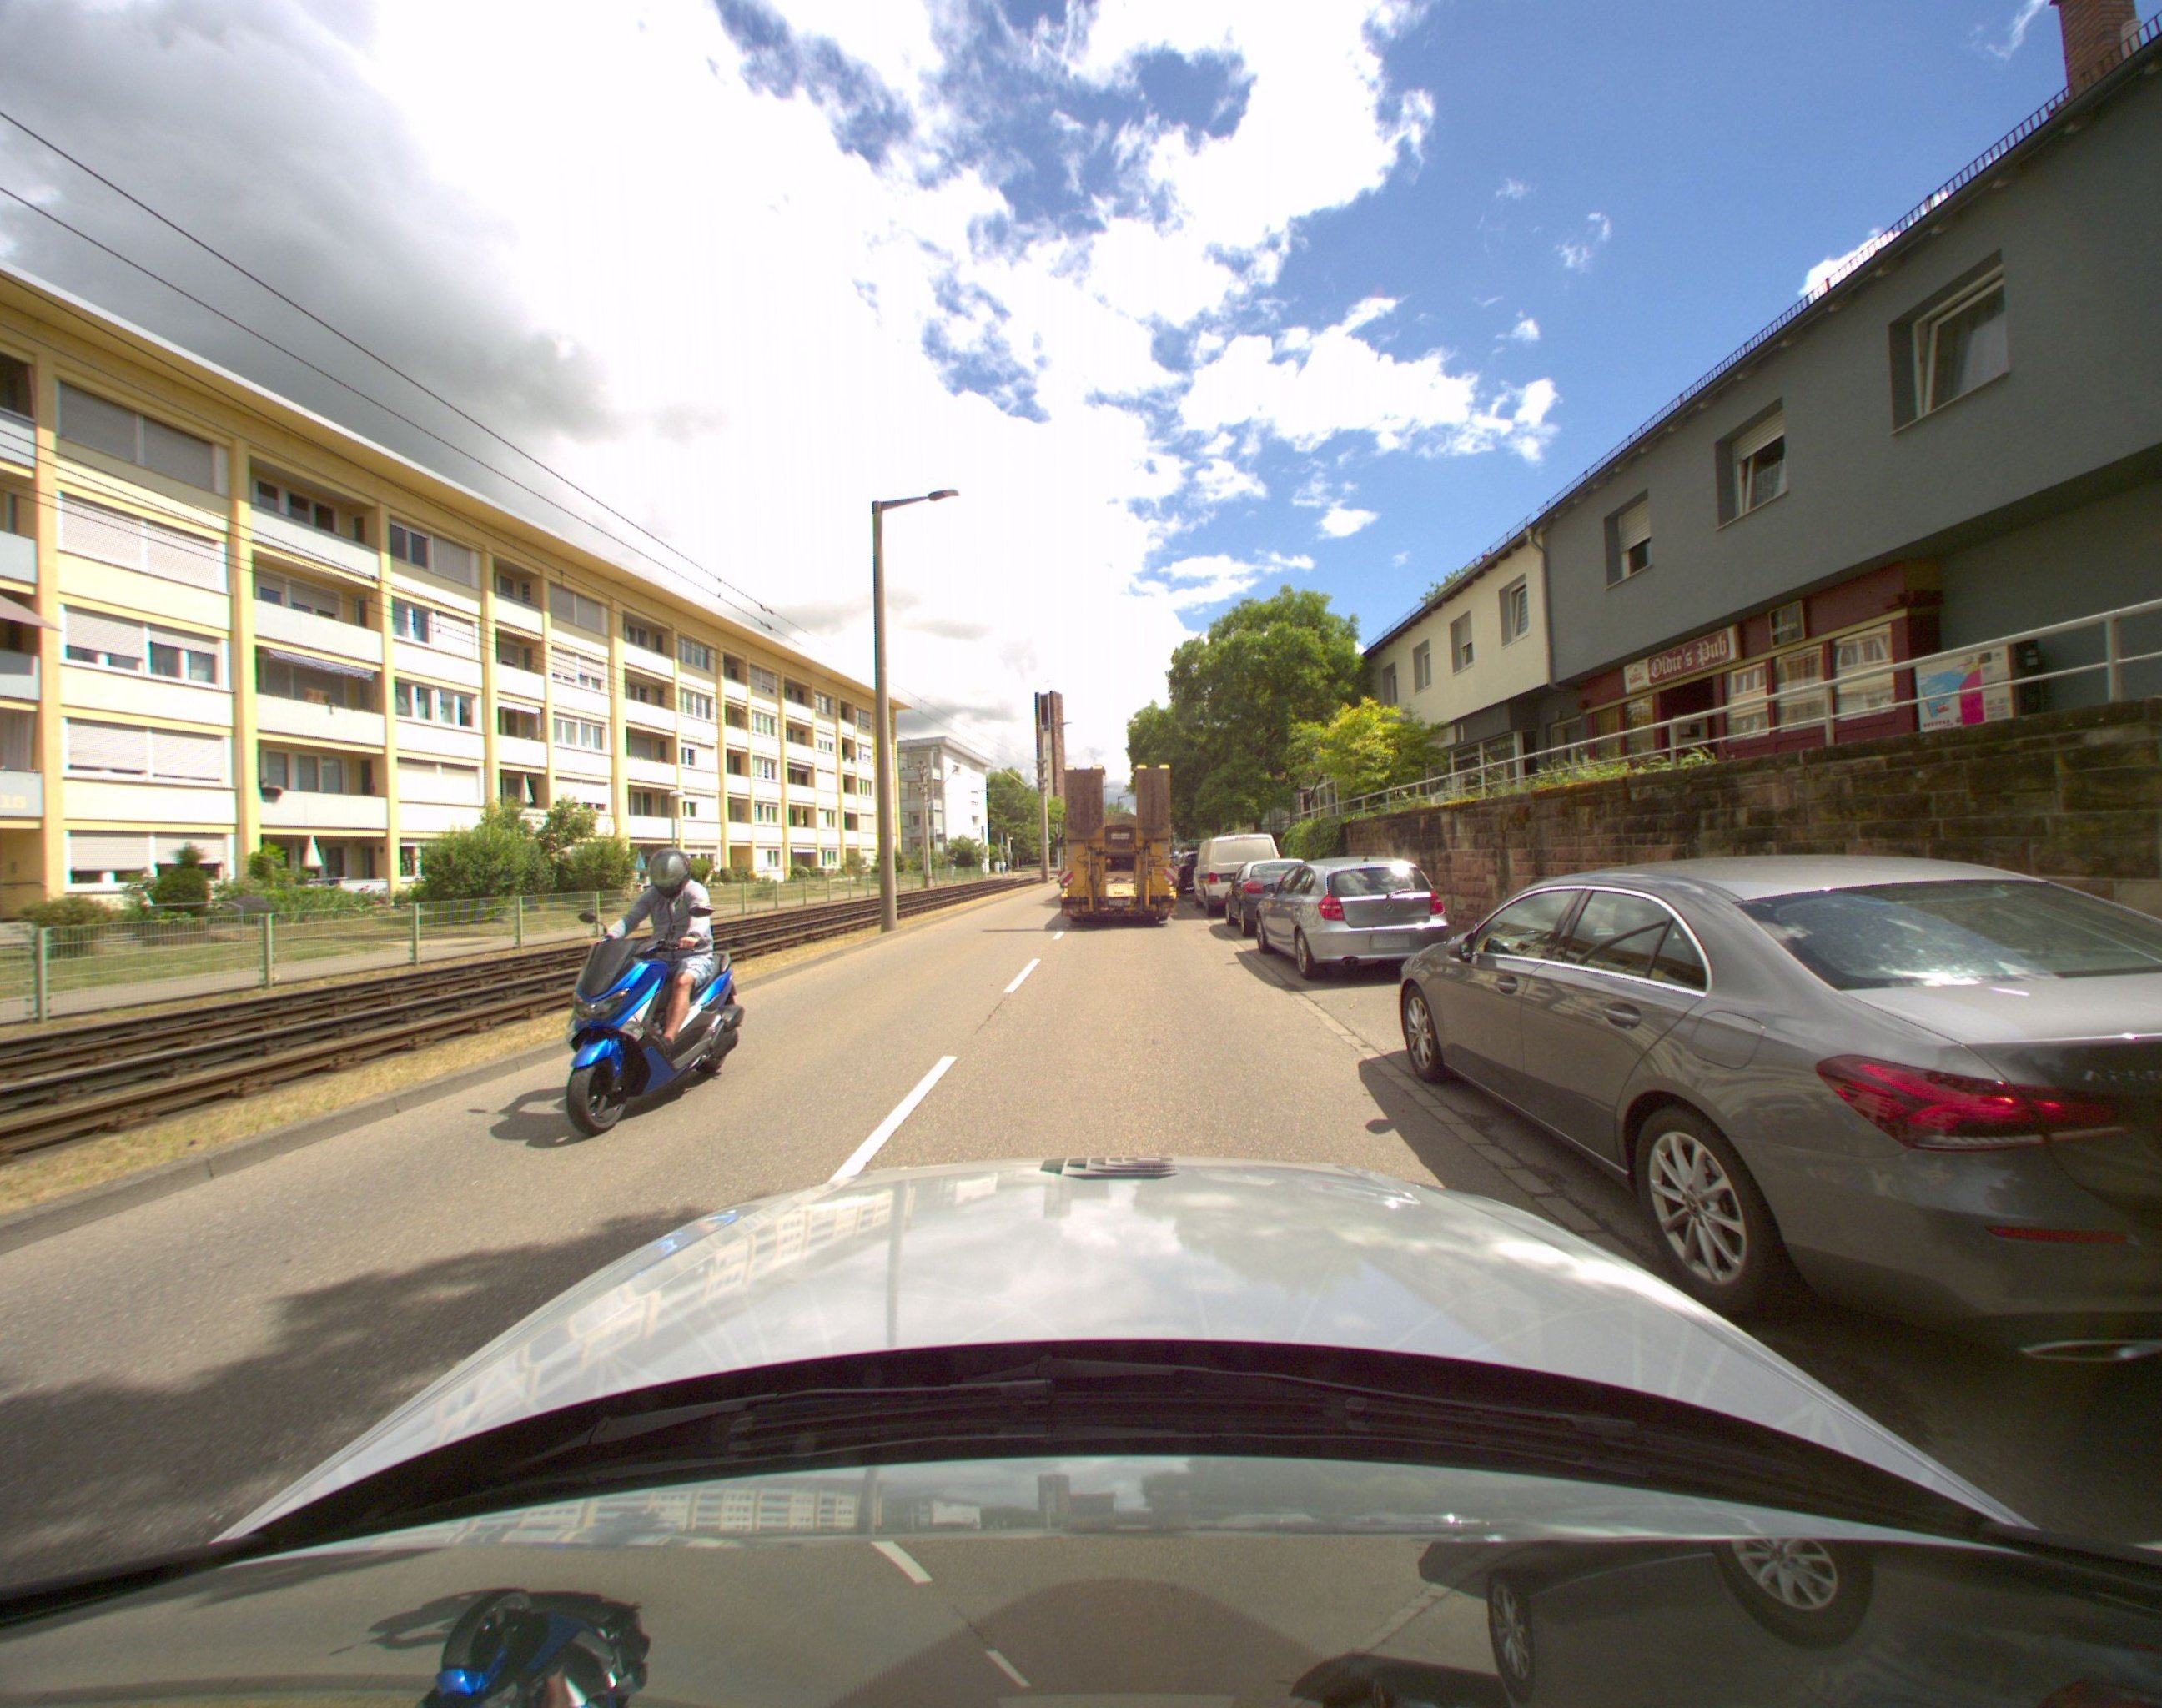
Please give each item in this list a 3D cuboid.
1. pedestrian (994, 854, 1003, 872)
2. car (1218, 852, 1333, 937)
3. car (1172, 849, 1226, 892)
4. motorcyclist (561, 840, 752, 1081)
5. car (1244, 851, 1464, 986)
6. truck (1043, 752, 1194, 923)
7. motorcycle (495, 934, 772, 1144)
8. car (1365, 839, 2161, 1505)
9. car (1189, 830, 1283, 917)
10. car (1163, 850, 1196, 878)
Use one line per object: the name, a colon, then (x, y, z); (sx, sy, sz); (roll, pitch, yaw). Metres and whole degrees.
pedestrian: (-9.472, 0.983, 93.449); (0.952, 2.013, 1.174); (-2, 0, -12)
car: (3.761, 0.718, 16.276); (1.613, 1.405, 3.654); (-3, 0, 4)
car: (4.802, 0.629, 33.591); (1.792, 1.623, 4.295); (-2, 0, 3)
motorcyclist: (-2.795, 0.656, 5.462); (0.744, 1.467, 0.888); (-2, 0, 2)
car: (3.444, 0.713, 11.097); (1.684, 1.405, 4.070); (-3, 0, 2)
truck: (1.019, -0.385, 23.655); (3.112, 3.564, 12.465); (-2, 0, 2)
motorcycle: (-2.796, 1.105, 5.370); (0.744, 0.954, 1.833); (-1, 0, 2)
car: (2.956, 0.690, 3.972); (1.828, 1.405, 4.419); (-3, 0, 4)
car: (3.991, 0.457, 21.693); (1.792, 1.968, 4.594); (-3, 0, 3)
car: (6.221, 0.590, 51.853); (1.792, 1.623, 4.295); (-2, 0, 3)
